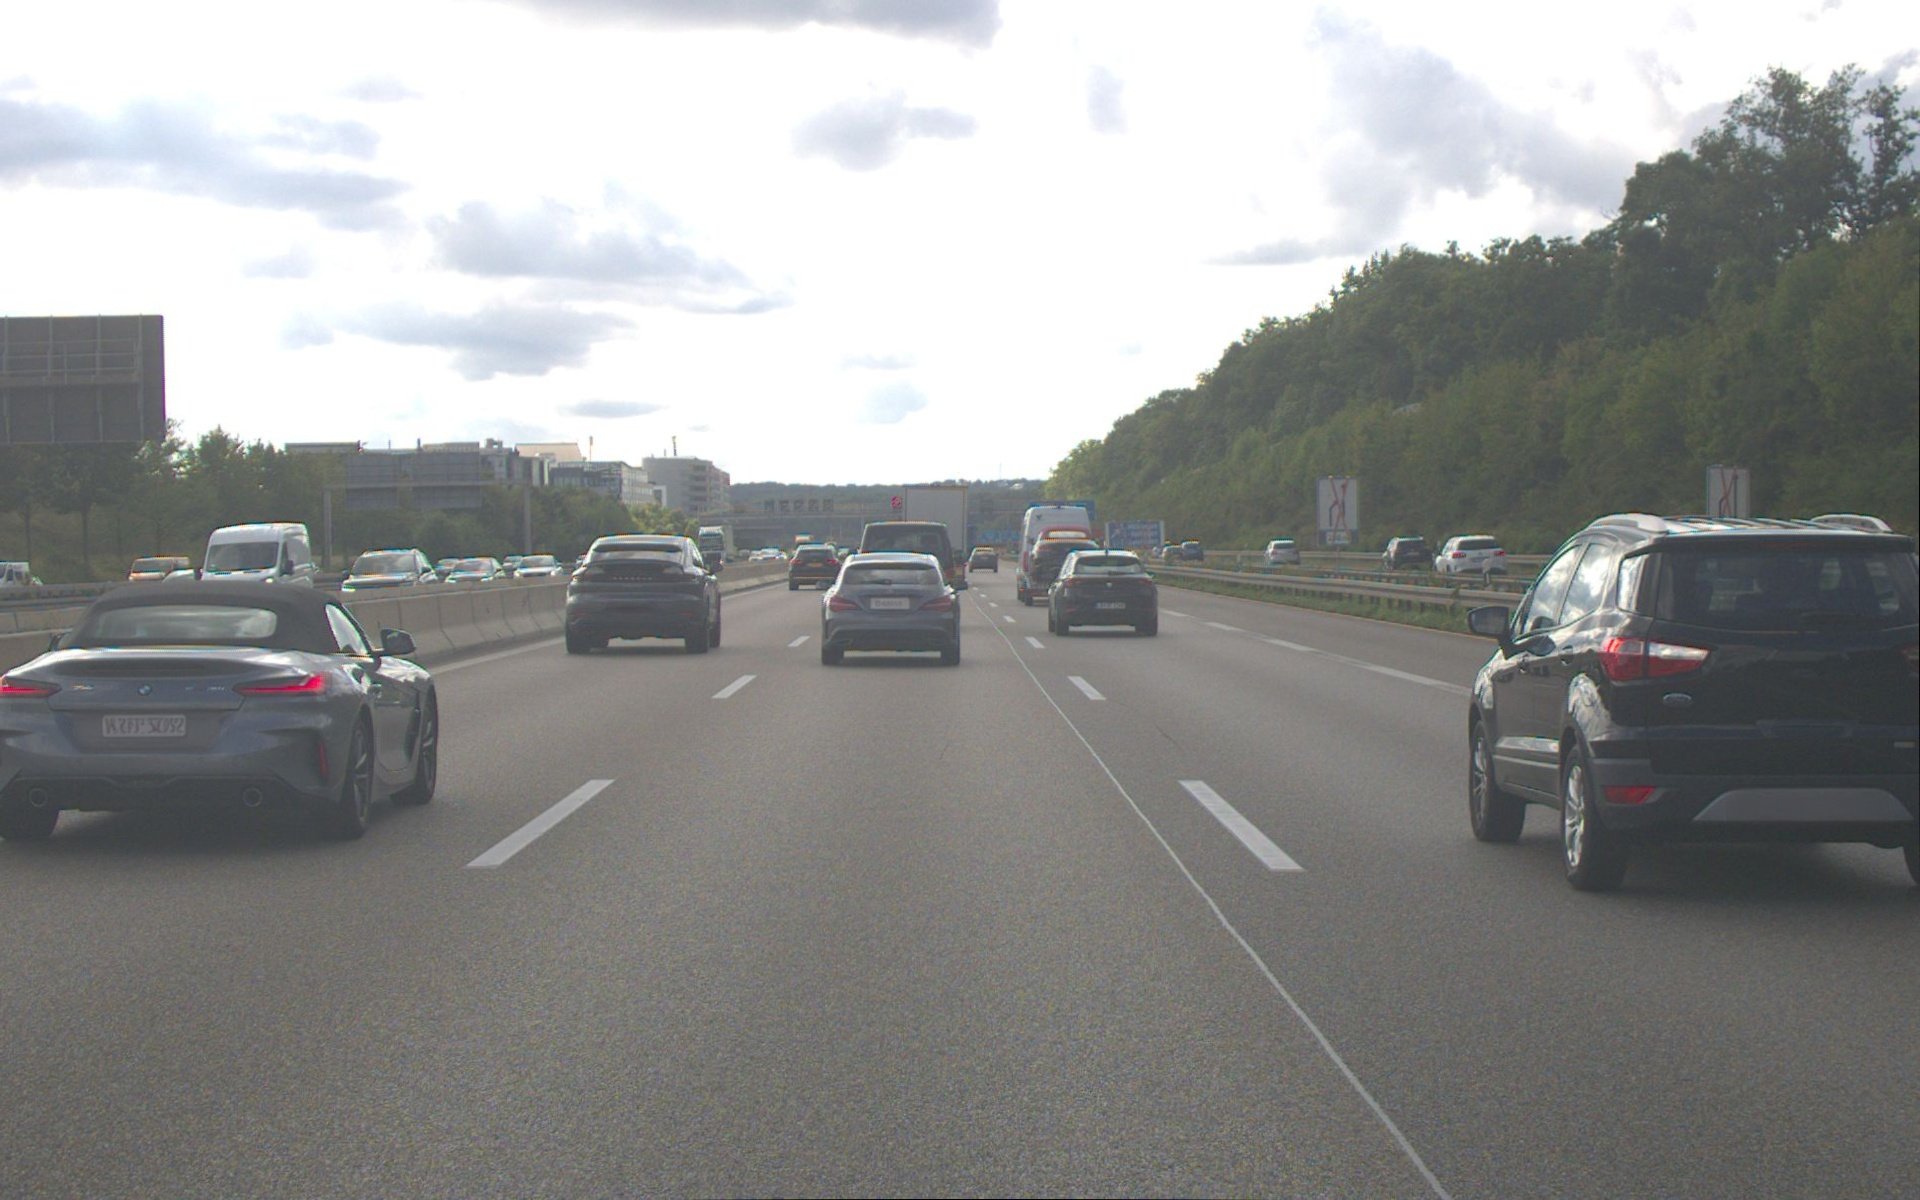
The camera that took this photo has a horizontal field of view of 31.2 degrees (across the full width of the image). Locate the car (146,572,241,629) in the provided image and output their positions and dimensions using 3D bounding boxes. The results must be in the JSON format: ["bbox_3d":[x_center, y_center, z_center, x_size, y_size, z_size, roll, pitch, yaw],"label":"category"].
[{"bbox_3d":[-21.679,-0.010,97.354,1.725,1.524,4.866,0,1,-1],"label":"car"}]

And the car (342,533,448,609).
[{"bbox_3d":[-13.350,-0.719,81.412,1.763,1.725,4.703,1,1,-1],"label":"car"}]

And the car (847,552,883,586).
[{"bbox_3d":[-4.602,-1.515,167.256,1.697,1.605,4.114,0,1,-1],"label":"car"}]

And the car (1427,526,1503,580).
[{"bbox_3d":[16.150,-1.525,110.107,1.752,1.689,4.190,0,1,-1],"label":"car"}]

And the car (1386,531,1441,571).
[{"bbox_3d":[19.219,-2.079,145.853,1.752,1.689,4.190,0,1,-1],"label":"car"}]

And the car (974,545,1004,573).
[{"bbox_3d":[1.803,-2.545,212.873,1.752,1.689,4.190,0,1,-1],"label":"car"}]

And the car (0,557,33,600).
[{"bbox_3d":[-39.056,-0.894,138.526,1.993,1.694,5.635,0,1,-1],"label":"car"}]

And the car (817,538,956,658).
[{"bbox_3d":[-0.933,-0.065,44.808,1.720,1.474,4.392,0,1,-1],"label":"car"}]

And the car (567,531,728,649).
[{"bbox_3d":[-4.502,-0.188,50.254,1.912,1.630,5.500,0,1,-1],"label":"car"}]

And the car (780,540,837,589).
[{"bbox_3d":[-5.342,-1.250,121.455,1.873,1.692,4.072,0,1,-1],"label":"car"}]

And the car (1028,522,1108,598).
[{"bbox_3d":[2.788,-1.057,89.168,1.913,1.912,4.031,0,1,-1],"label":"car"}]

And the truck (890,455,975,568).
[{"bbox_3d":[-1.110,-3.559,139.770,3.263,4.360,11.027,1,1,0],"label":"truck"}]

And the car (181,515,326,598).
[{"bbox_3d":[-17.261,-1.079,84.311,2.355,1.960,5.834,0,1,0],"label":"car"}]

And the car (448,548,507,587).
[{"bbox_3d":[-17.544,-1.194,125.097,1.637,1.398,4.492,0,1,-1],"label":"car"}]

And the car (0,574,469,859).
[{"bbox_3d":[-3.972,0.541,18.914,1.873,1.298,4.943,0,1,-1],"label":"car"}]

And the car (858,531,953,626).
[{"bbox_3d":[-1.014,-0.438,64.409,1.720,1.718,4.392,0,1,-1],"label":"car"}]

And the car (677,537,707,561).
[{"bbox_3d":[-18.196,-3.479,233.639,1.779,1.640,4.072,0,1,-1],"label":"car"}]

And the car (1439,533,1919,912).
[{"bbox_3d":[3.439,0.467,16.264,1.697,1.559,4.114,0,1,-1],"label":"car"}]

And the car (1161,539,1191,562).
[{"bbox_3d":[14.797,-3.414,235.518,1.729,1.528,4.453,-1,1,-1],"label":"car"}]

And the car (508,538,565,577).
[{"bbox_3d":[-17.292,-1.745,140.407,1.763,1.527,4.717,0,1,0],"label":"car"}]

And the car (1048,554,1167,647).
[{"bbox_3d":[2.505,-0.027,59.361,1.832,1.516,4.225,0,1,-1],"label":"car"}]

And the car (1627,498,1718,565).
[{"bbox_3d":[19.456,-1.861,93.990,1.595,1.797,3.825,0,1,-2],"label":"car"}]

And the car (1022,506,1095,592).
[{"bbox_3d":[2.735,-1.445,95.999,1.873,2.349,4.282,0,1,-1],"label":"car"}]

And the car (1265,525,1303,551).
[{"bbox_3d":[18.907,-3.620,200.740,1.752,1.511,4.191,0,1,-1],"label":"car"}]
